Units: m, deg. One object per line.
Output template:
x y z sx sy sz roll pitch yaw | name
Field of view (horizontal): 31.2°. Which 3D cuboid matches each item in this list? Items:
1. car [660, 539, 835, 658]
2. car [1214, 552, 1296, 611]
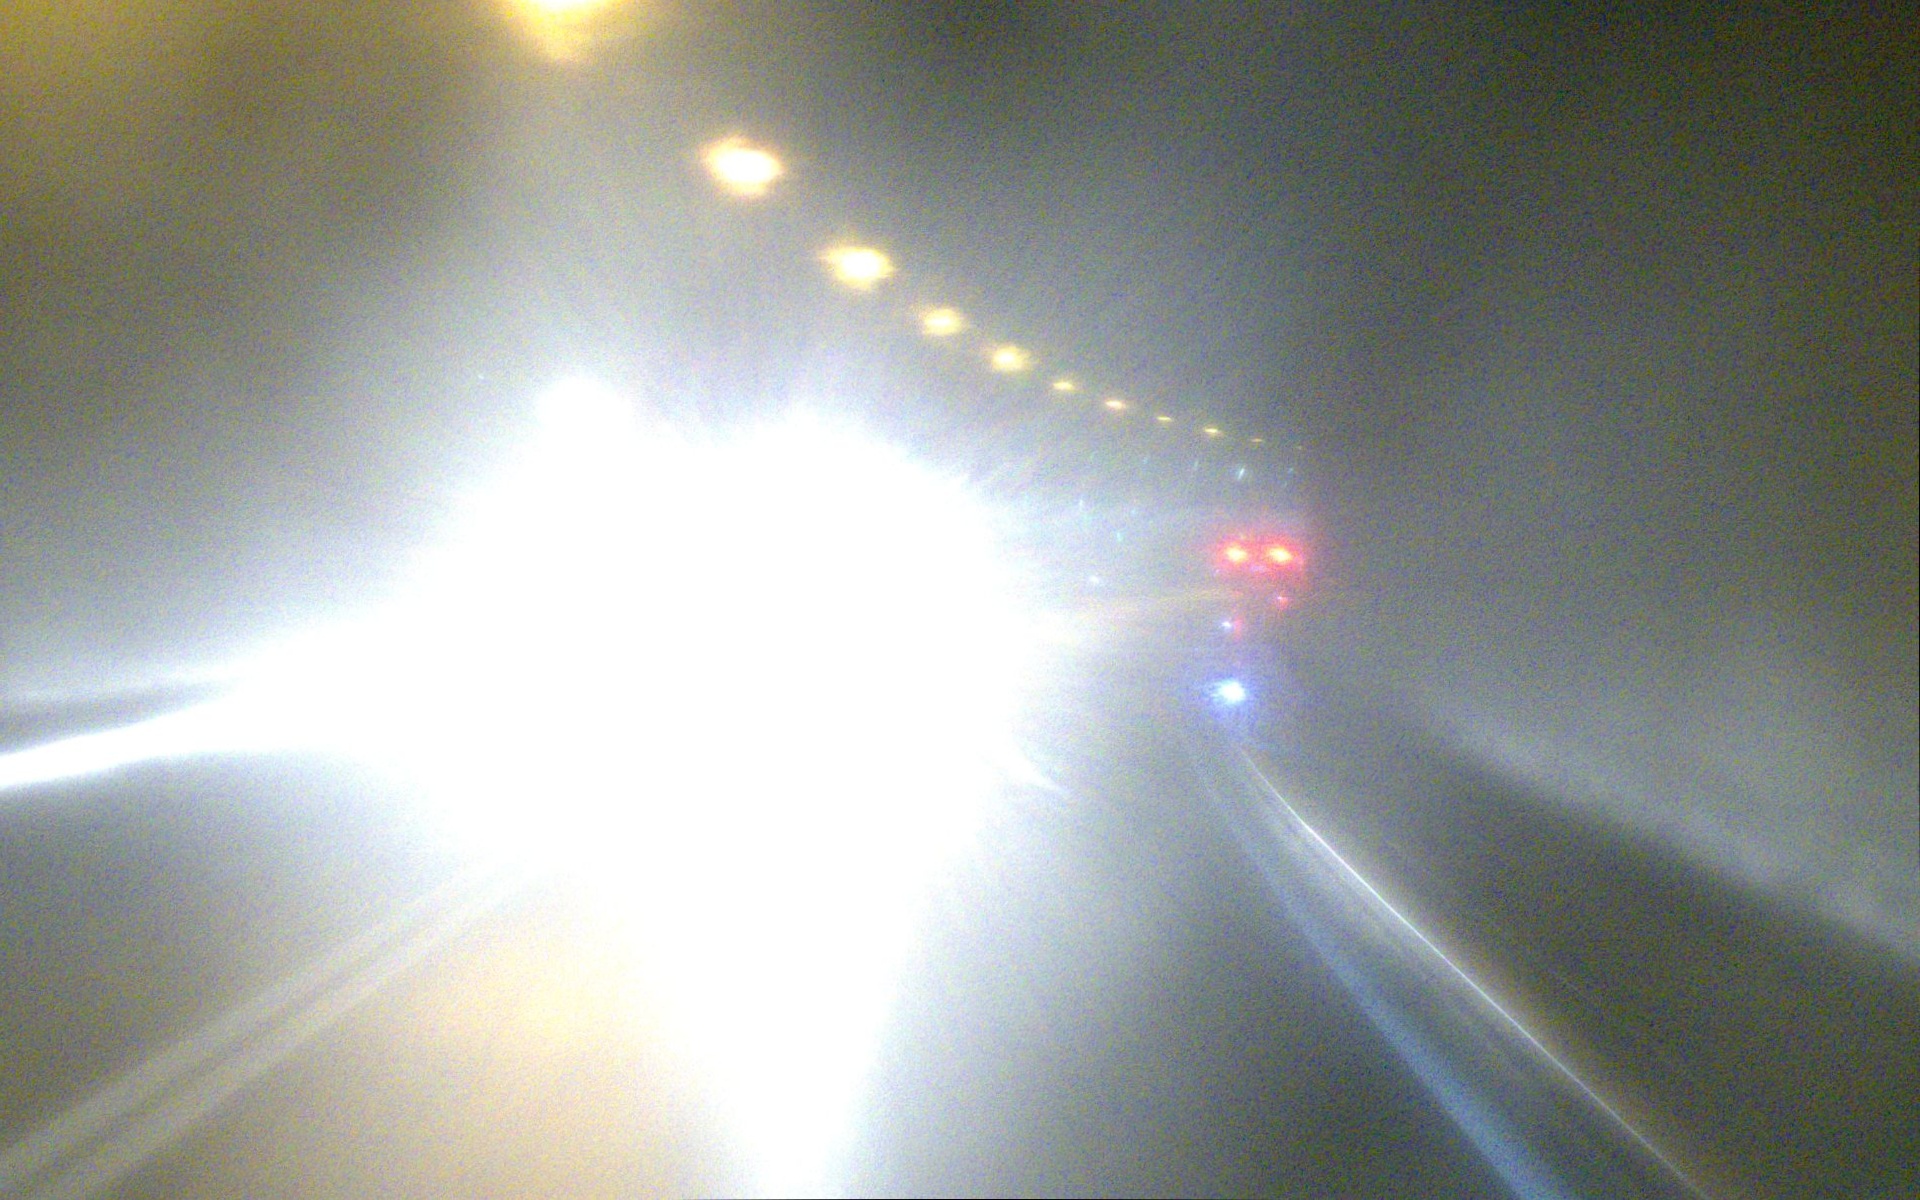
-2.655 -0.059 43.885 1.713 1.373 4.585 2 1 2 | car
8.764 -0.567 101.971 1.994 1.645 3.998 1 1 10 | car
